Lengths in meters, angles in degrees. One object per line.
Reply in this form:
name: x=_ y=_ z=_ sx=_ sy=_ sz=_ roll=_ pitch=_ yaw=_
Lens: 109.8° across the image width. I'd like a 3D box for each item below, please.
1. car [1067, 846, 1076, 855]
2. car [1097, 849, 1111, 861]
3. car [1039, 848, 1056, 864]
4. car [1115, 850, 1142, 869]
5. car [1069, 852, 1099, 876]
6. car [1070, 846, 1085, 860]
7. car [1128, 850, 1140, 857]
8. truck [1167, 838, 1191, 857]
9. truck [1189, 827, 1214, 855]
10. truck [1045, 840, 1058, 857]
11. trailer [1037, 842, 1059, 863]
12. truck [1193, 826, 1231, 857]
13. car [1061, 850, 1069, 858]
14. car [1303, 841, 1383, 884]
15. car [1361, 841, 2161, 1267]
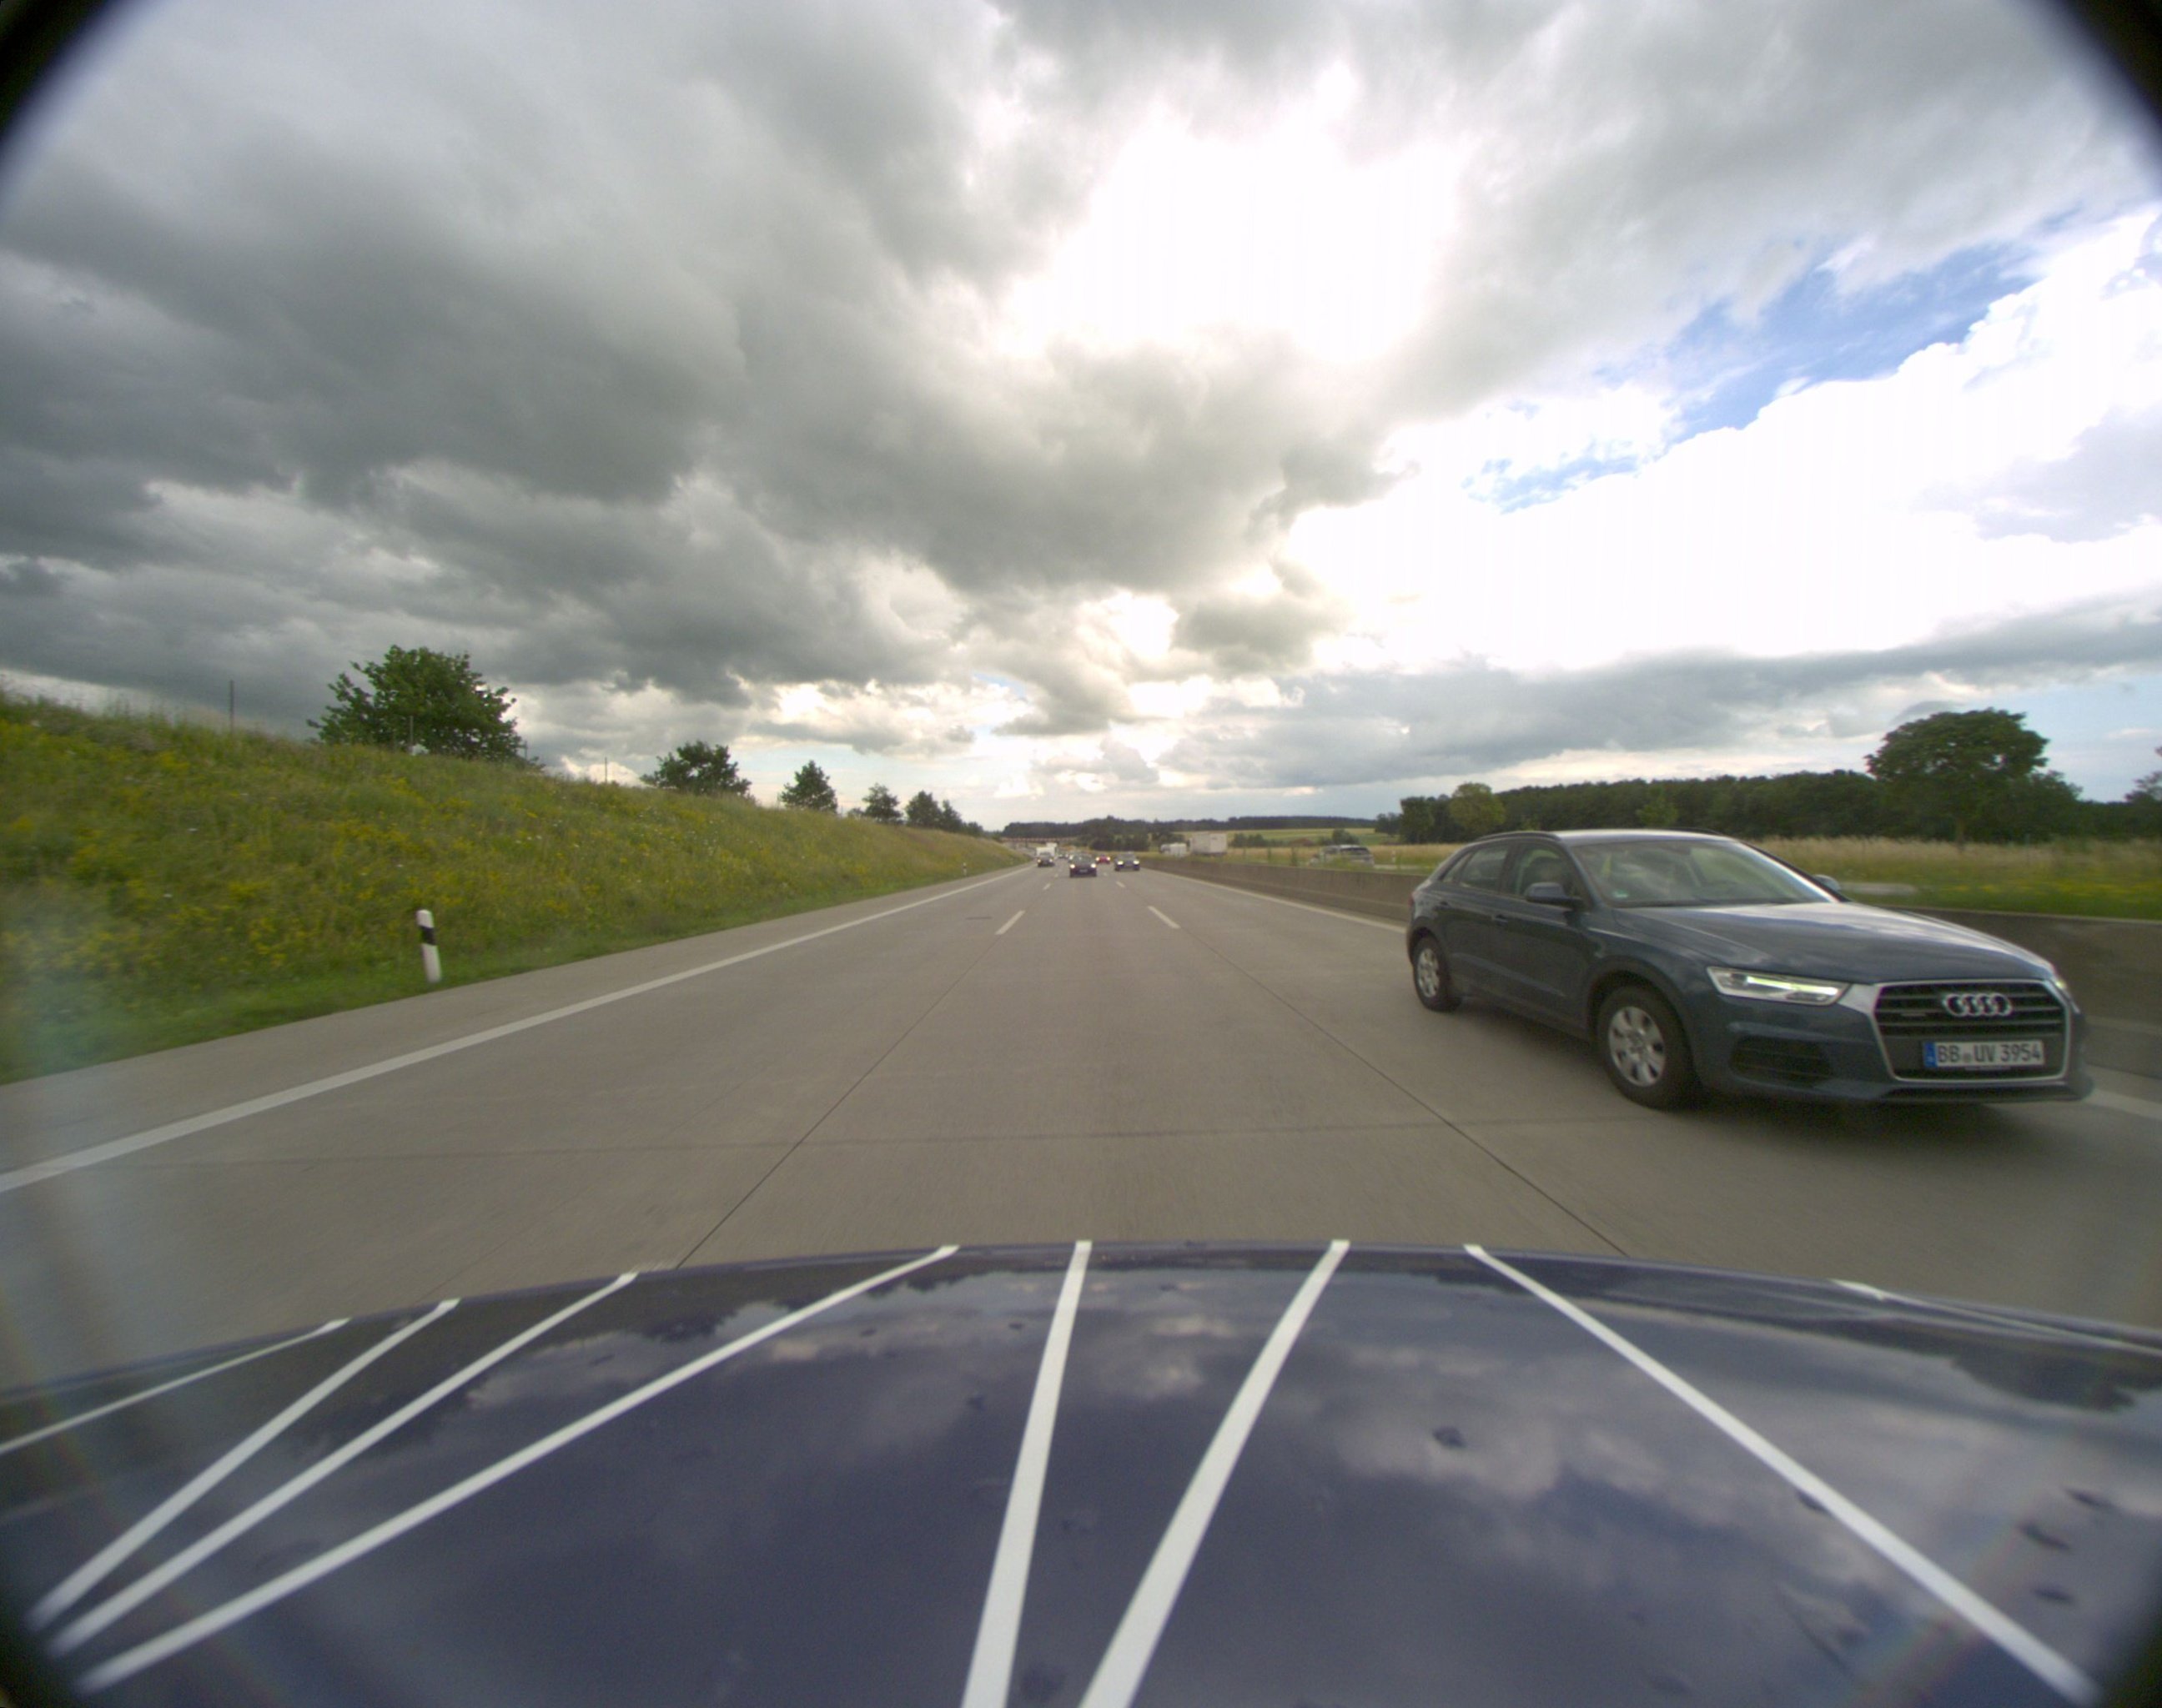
car: x=-2.306 y=-0.791 z=184.818 sx=1.810 sy=2.002 sz=3.841 roll=-3 pitch=1 yaw=-2
car: x=3.045 y=0.114 z=99.945 sx=1.821 sy=1.364 sz=3.782 roll=-3 pitch=1 yaw=2
car: x=-4.046 y=0.201 z=92.332 sx=1.944 sy=1.799 sz=5.030 roll=-2 pitch=1 yaw=-3
car: x=3.798 y=0.427 z=61.344 sx=1.940 sy=1.464 sz=4.000 roll=-2 pitch=0 yaw=0
car: x=0.170 y=0.649 z=49.630 sx=1.691 sy=1.405 sz=3.998 roll=-2 pitch=1 yaw=-3
car: x=-0.605 y=-0.185 z=117.639 sx=1.999 sy=2.002 sz=3.998 roll=-2 pitch=1 yaw=-4
car: x=10.715 y=-0.145 z=154.184 sx=1.999 sy=1.473 sz=4.211 roll=-2 pitch=0 yaw=-2
truck: x=15.057 y=-1.039 z=117.223 sx=2.622 sy=2.709 sz=6.918 roll=-2 pitch=1 yaw=0
truck: x=19.067 y=-2.077 z=120.494 sx=2.848 sy=4.231 sz=6.089 roll=-2 pitch=1 yaw=-1
truck: x=-7.191 y=-1.355 z=186.219 sx=2.855 sy=4.176 sz=10.707 roll=-2 pitch=0 yaw=-2
trailer: x=-4.293 y=-0.232 z=98.204 sx=2.615 sy=2.520 sz=6.718 roll=-2 pitch=1 yaw=-3
truck: x=19.136 y=-1.895 z=112.278 sx=2.848 sy=4.231 sz=14.562 roll=-2 pitch=1 yaw=-1
car: x=-4.486 y=-0.074 z=213.799 sx=1.999 sy=2.002 sz=3.998 roll=-2 pitch=1 yaw=-2
car: x=11.910 y=0.353 z=34.911 sx=1.998 sy=1.771 sz=4.930 roll=-2 pitch=0 yaw=0
car: x=3.900 y=0.749 z=5.507 sx=1.797 sy=1.587 sz=5.156 roll=-2 pitch=1 yaw=0
